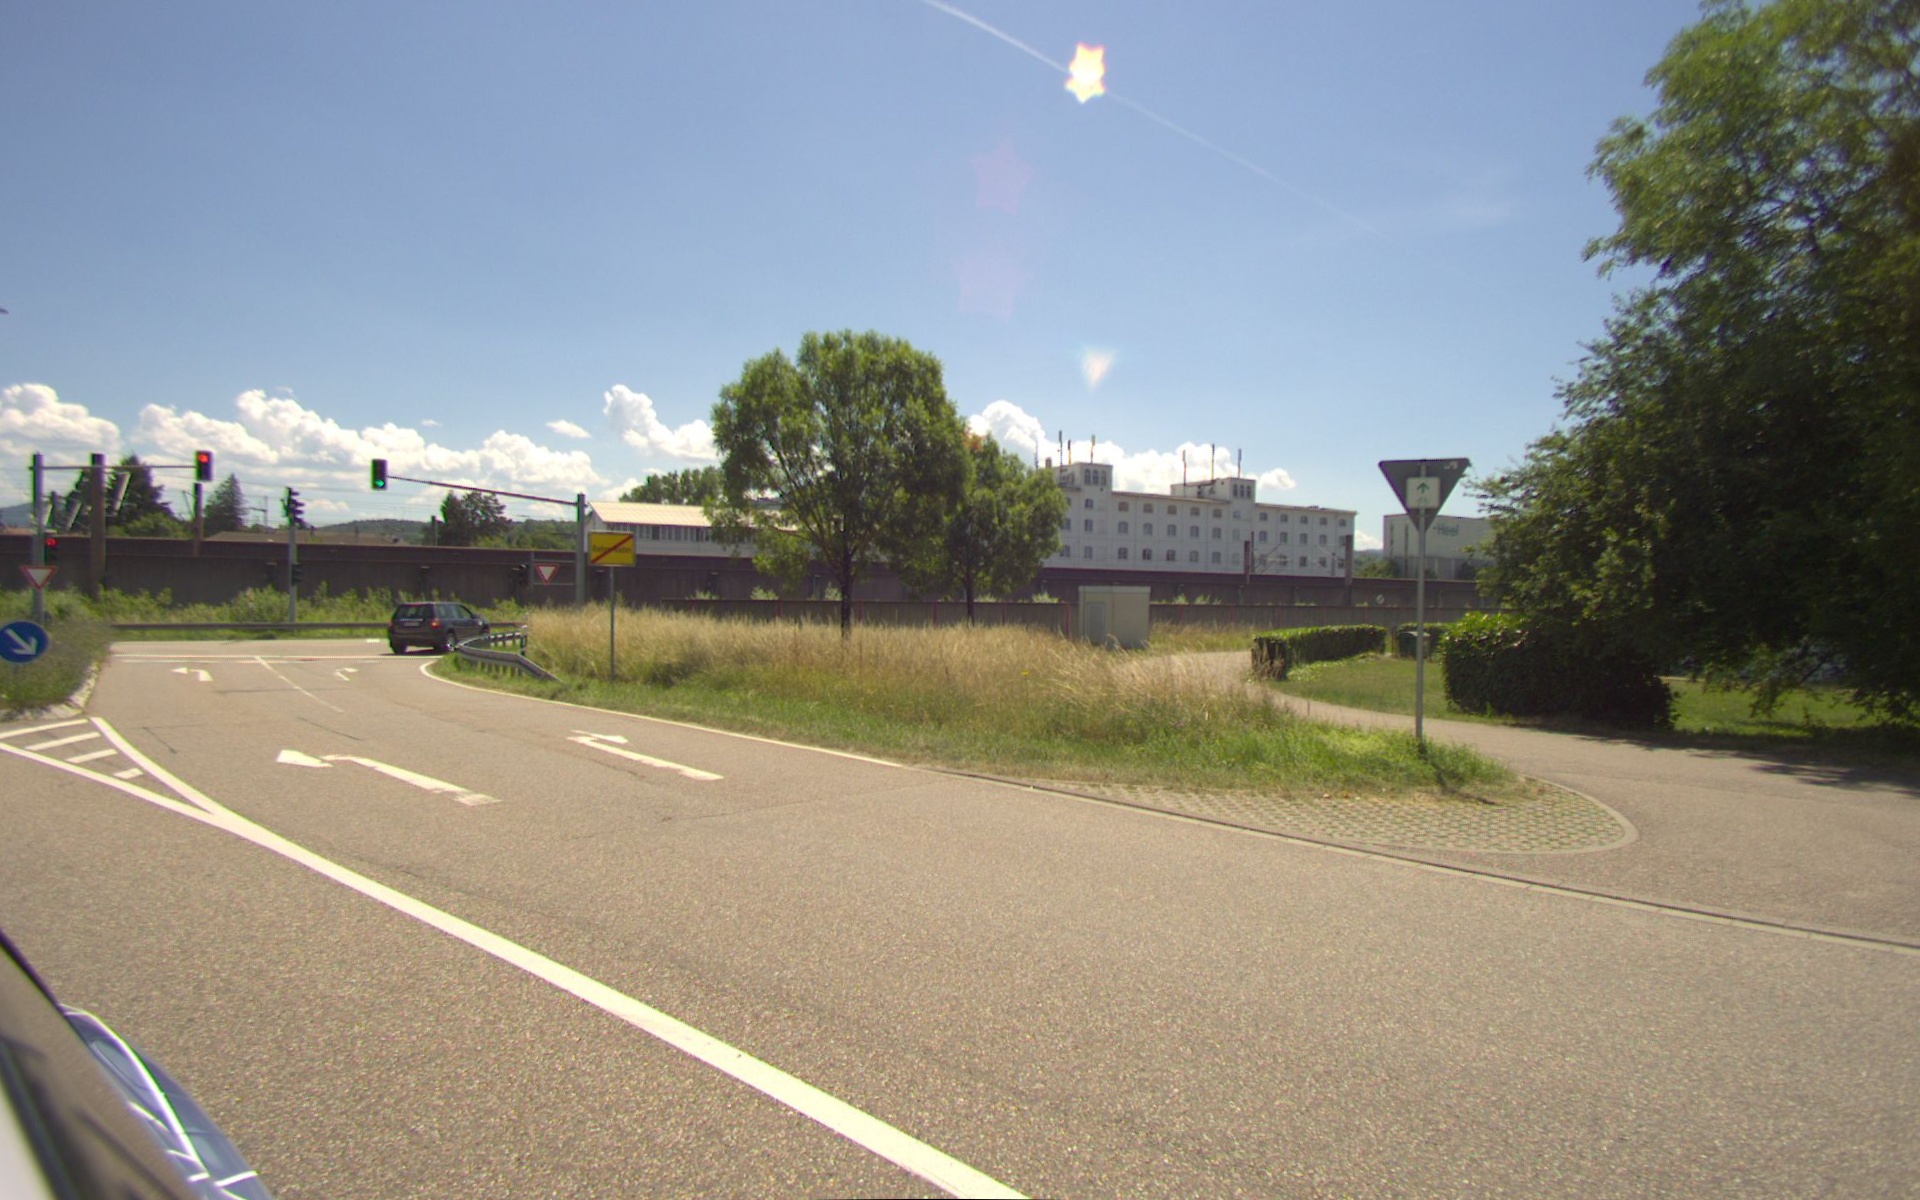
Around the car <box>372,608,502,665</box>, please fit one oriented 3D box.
[{"bbox_3d":[-18.060,1.206,35.225,1.974,1.735,4.479,2,0,3],"label":"car"}]
